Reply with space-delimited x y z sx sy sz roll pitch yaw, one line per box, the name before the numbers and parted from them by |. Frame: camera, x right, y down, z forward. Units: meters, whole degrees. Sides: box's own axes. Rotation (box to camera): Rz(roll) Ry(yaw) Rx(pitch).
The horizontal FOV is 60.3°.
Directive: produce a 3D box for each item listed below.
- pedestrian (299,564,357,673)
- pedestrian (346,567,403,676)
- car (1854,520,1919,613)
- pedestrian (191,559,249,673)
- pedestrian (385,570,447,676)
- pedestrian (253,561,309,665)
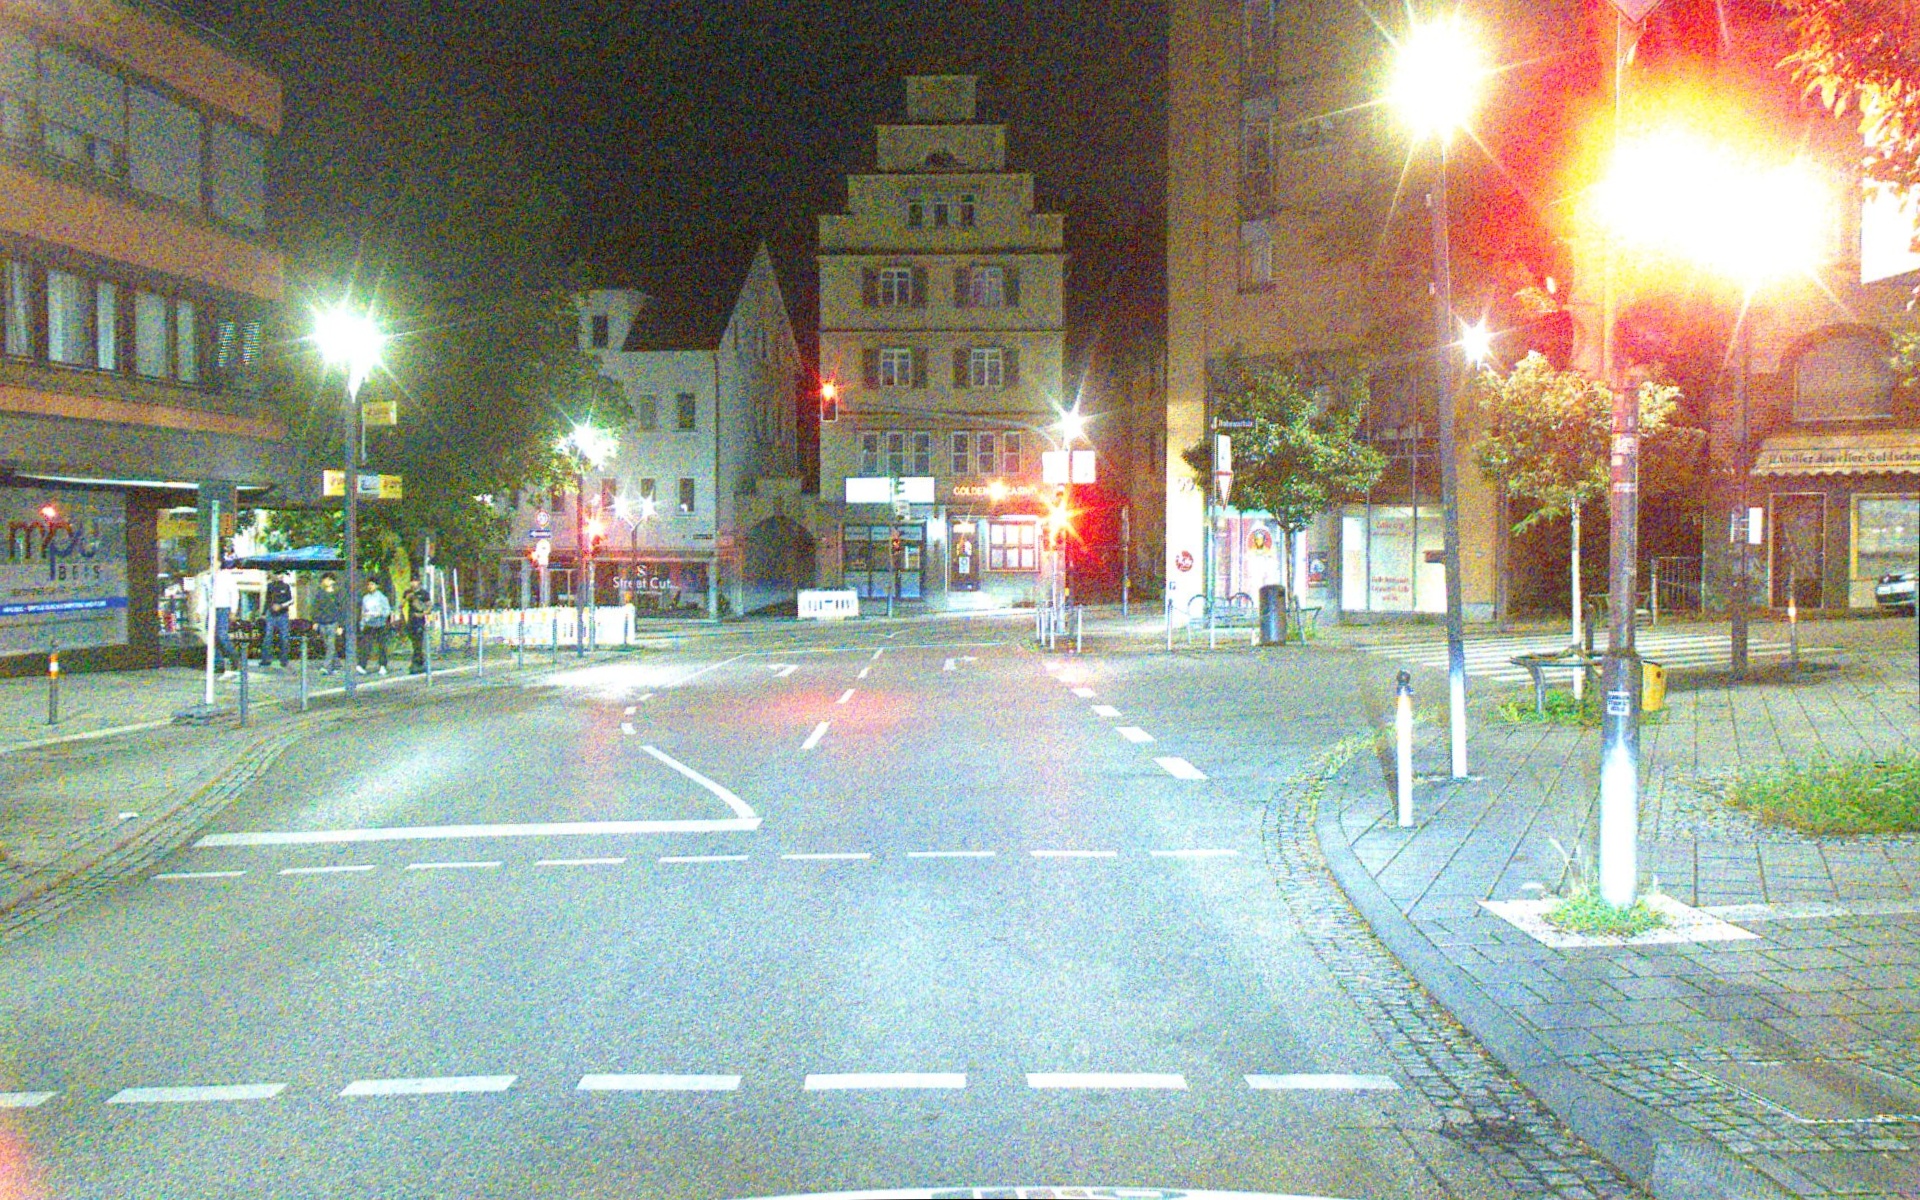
pedestrian | -10.721 0.320 28.068 0.701 1.827 0.570 1 -1 6
pedestrian | -9.977 0.361 28.195 0.701 1.827 0.570 1 -1 6
car | 17.177 -0.654 27.141 3.957 1.478 1.827 -3 1 6
pedestrian | -11.965 0.263 26.766 0.703 1.827 0.568 1 -1 -10
pedestrian | -9.494 0.397 28.878 0.701 1.827 0.737 0 -2 18
pedestrian | -12.053 0.231 29.368 0.701 1.827 0.570 1 -1 6
